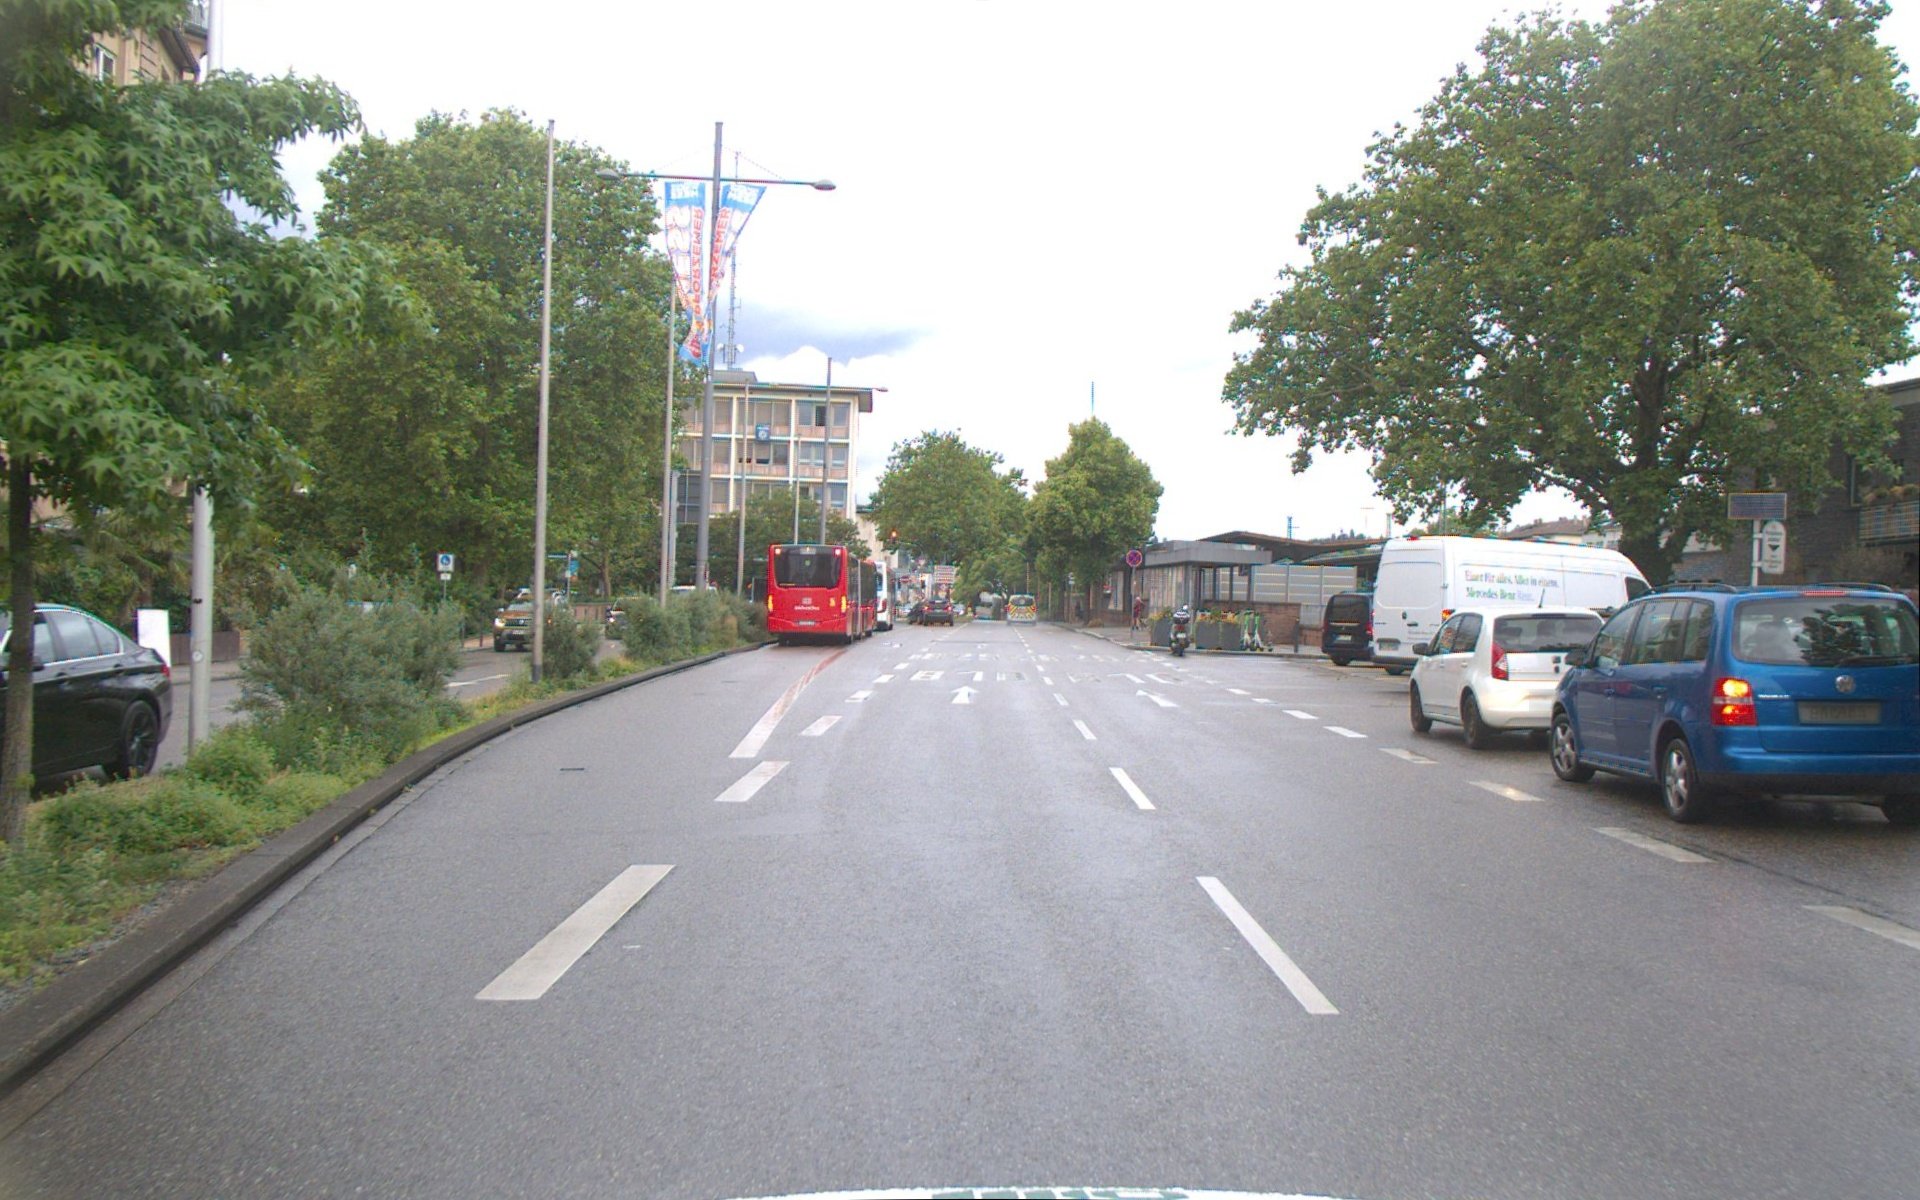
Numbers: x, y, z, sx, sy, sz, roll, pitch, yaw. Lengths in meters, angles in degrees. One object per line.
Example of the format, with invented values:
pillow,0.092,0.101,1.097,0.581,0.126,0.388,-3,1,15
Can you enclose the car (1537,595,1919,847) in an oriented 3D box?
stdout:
car,5.908,0.785,12.542,1.820,1.596,4.001,0,0,2

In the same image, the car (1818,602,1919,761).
car,10.553,0.769,16.304,3.941,1.468,1.847,0,-1,-28
